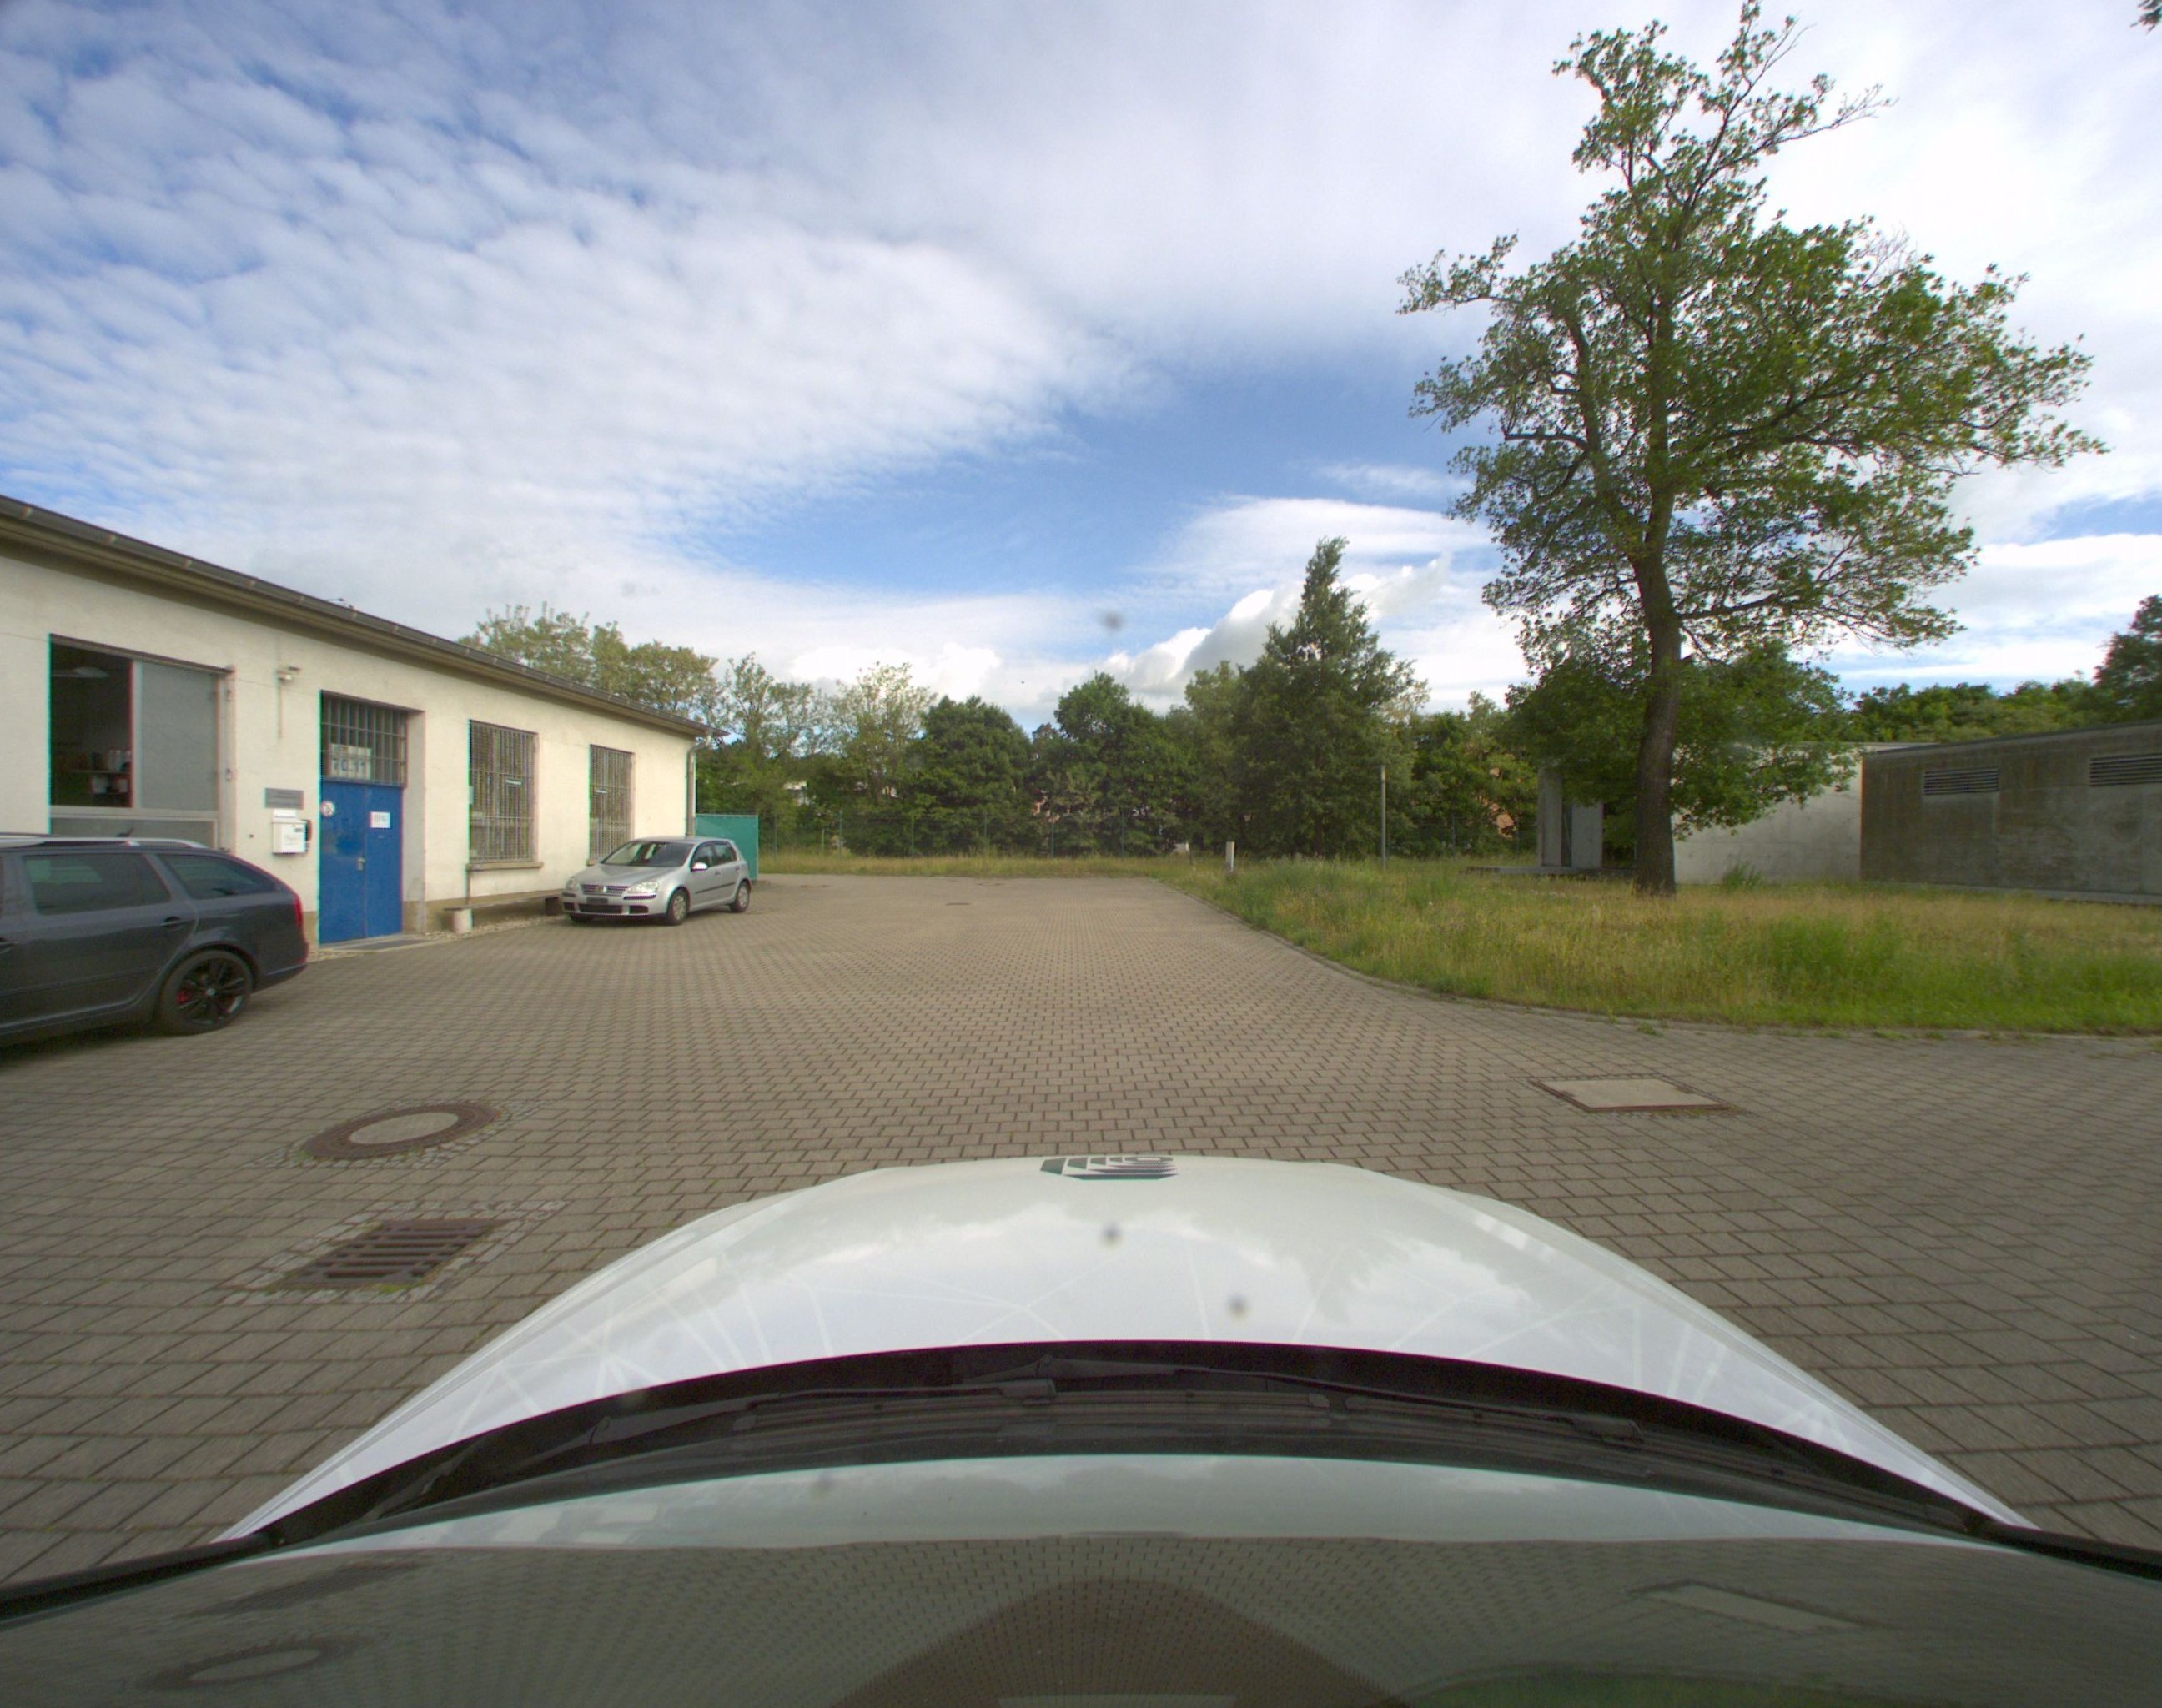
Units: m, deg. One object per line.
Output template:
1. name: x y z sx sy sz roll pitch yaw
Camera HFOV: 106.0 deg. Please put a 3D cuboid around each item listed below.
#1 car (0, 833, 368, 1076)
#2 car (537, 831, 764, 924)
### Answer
1. car: -7.456 0.596 5.051 1.919 1.461 4.808 0 1 -2
2. car: -7.554 0.322 14.867 1.919 1.439 4.365 0 1 -2
